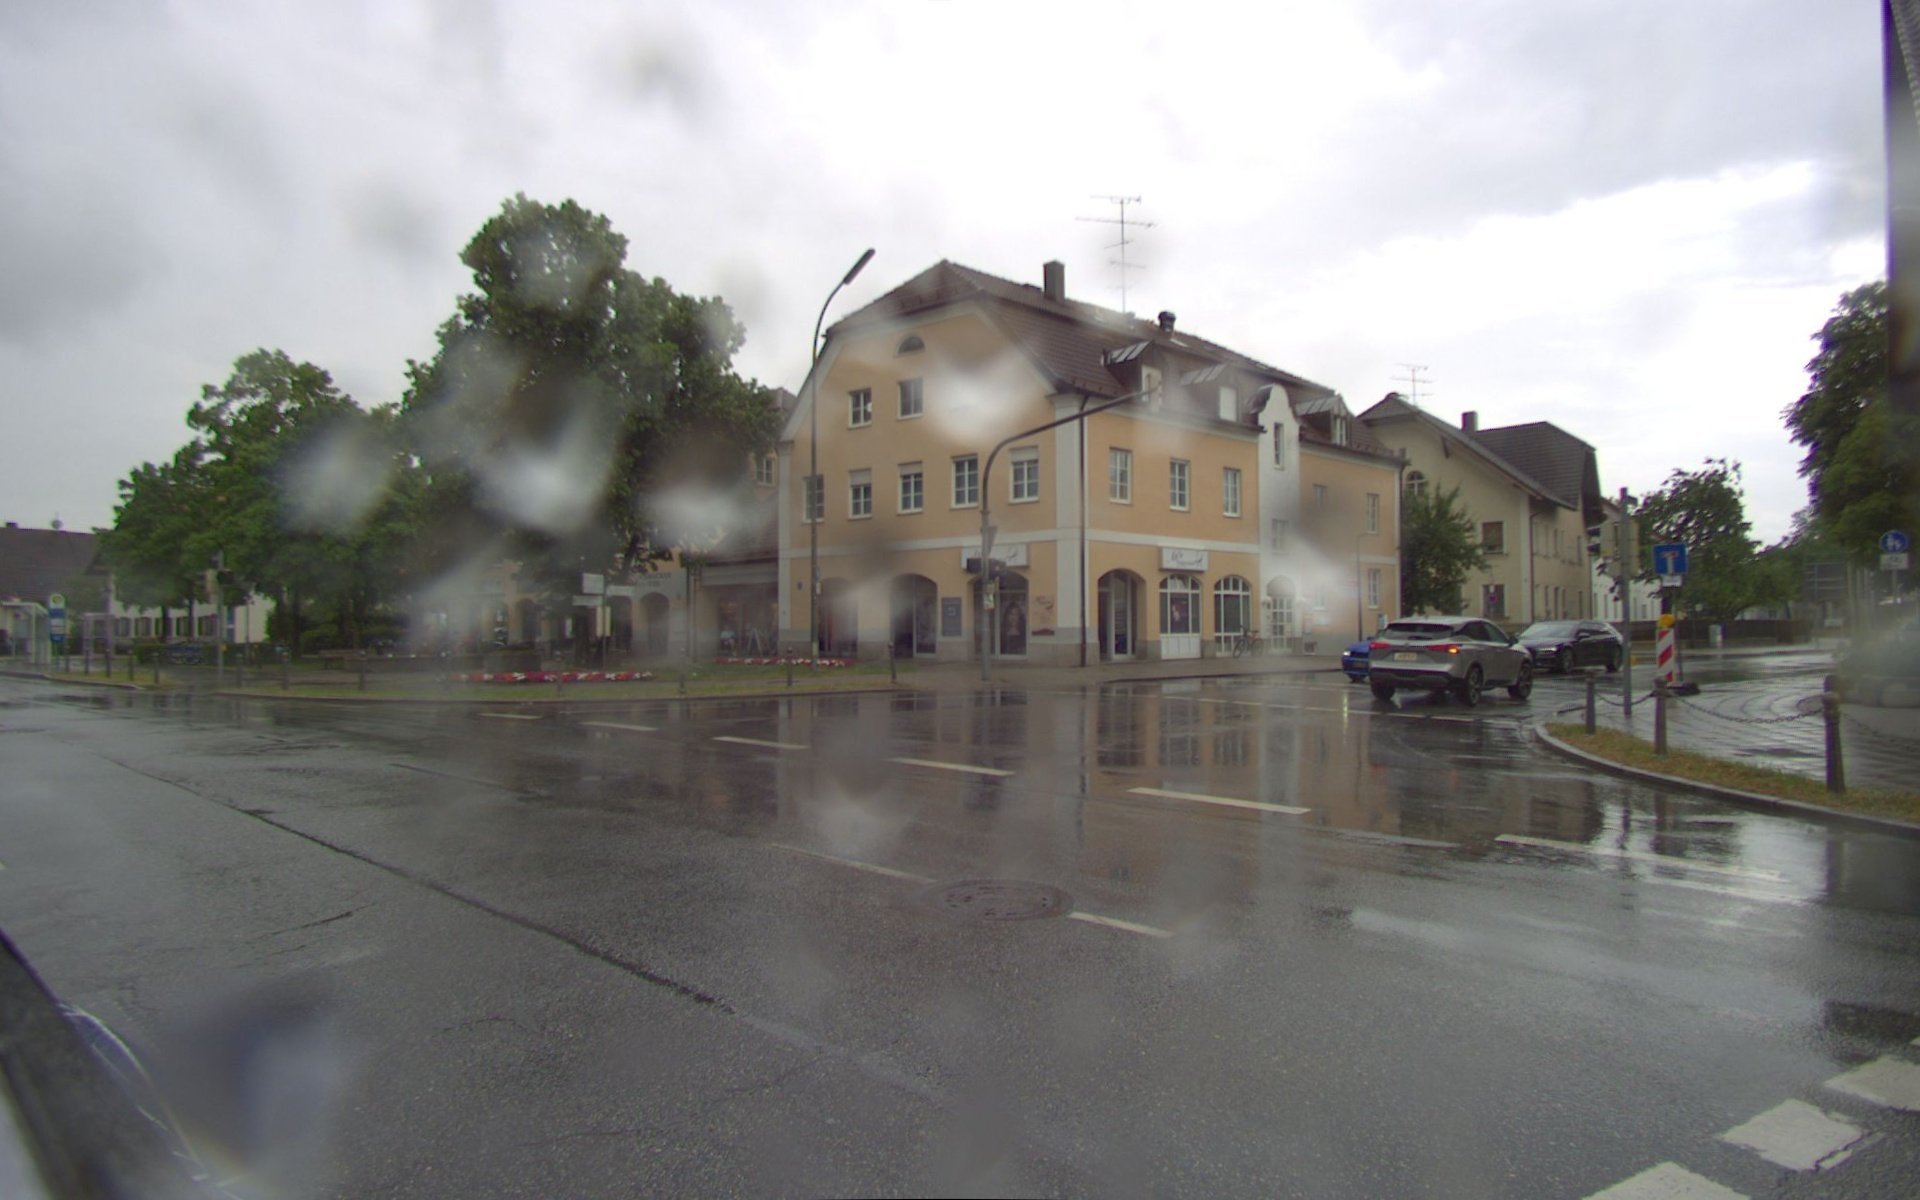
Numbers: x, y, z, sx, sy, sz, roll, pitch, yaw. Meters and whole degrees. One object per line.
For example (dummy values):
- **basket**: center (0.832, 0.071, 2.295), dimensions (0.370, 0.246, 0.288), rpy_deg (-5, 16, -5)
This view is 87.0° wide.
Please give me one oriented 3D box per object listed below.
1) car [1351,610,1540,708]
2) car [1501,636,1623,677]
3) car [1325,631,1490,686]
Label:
- **car**: center (9.533, 1.105, 19.704), dimensions (2.089, 1.686, 4.323), rpy_deg (-1, -3, 44)
- **car**: center (17.030, 1.555, 28.570), dimensions (4.006, 1.025, 1.427), rpy_deg (1, -2, -35)
- **car**: center (10.908, 1.371, 24.576), dimensions (4.288, 1.194, 1.693), rpy_deg (1, -2, -35)
